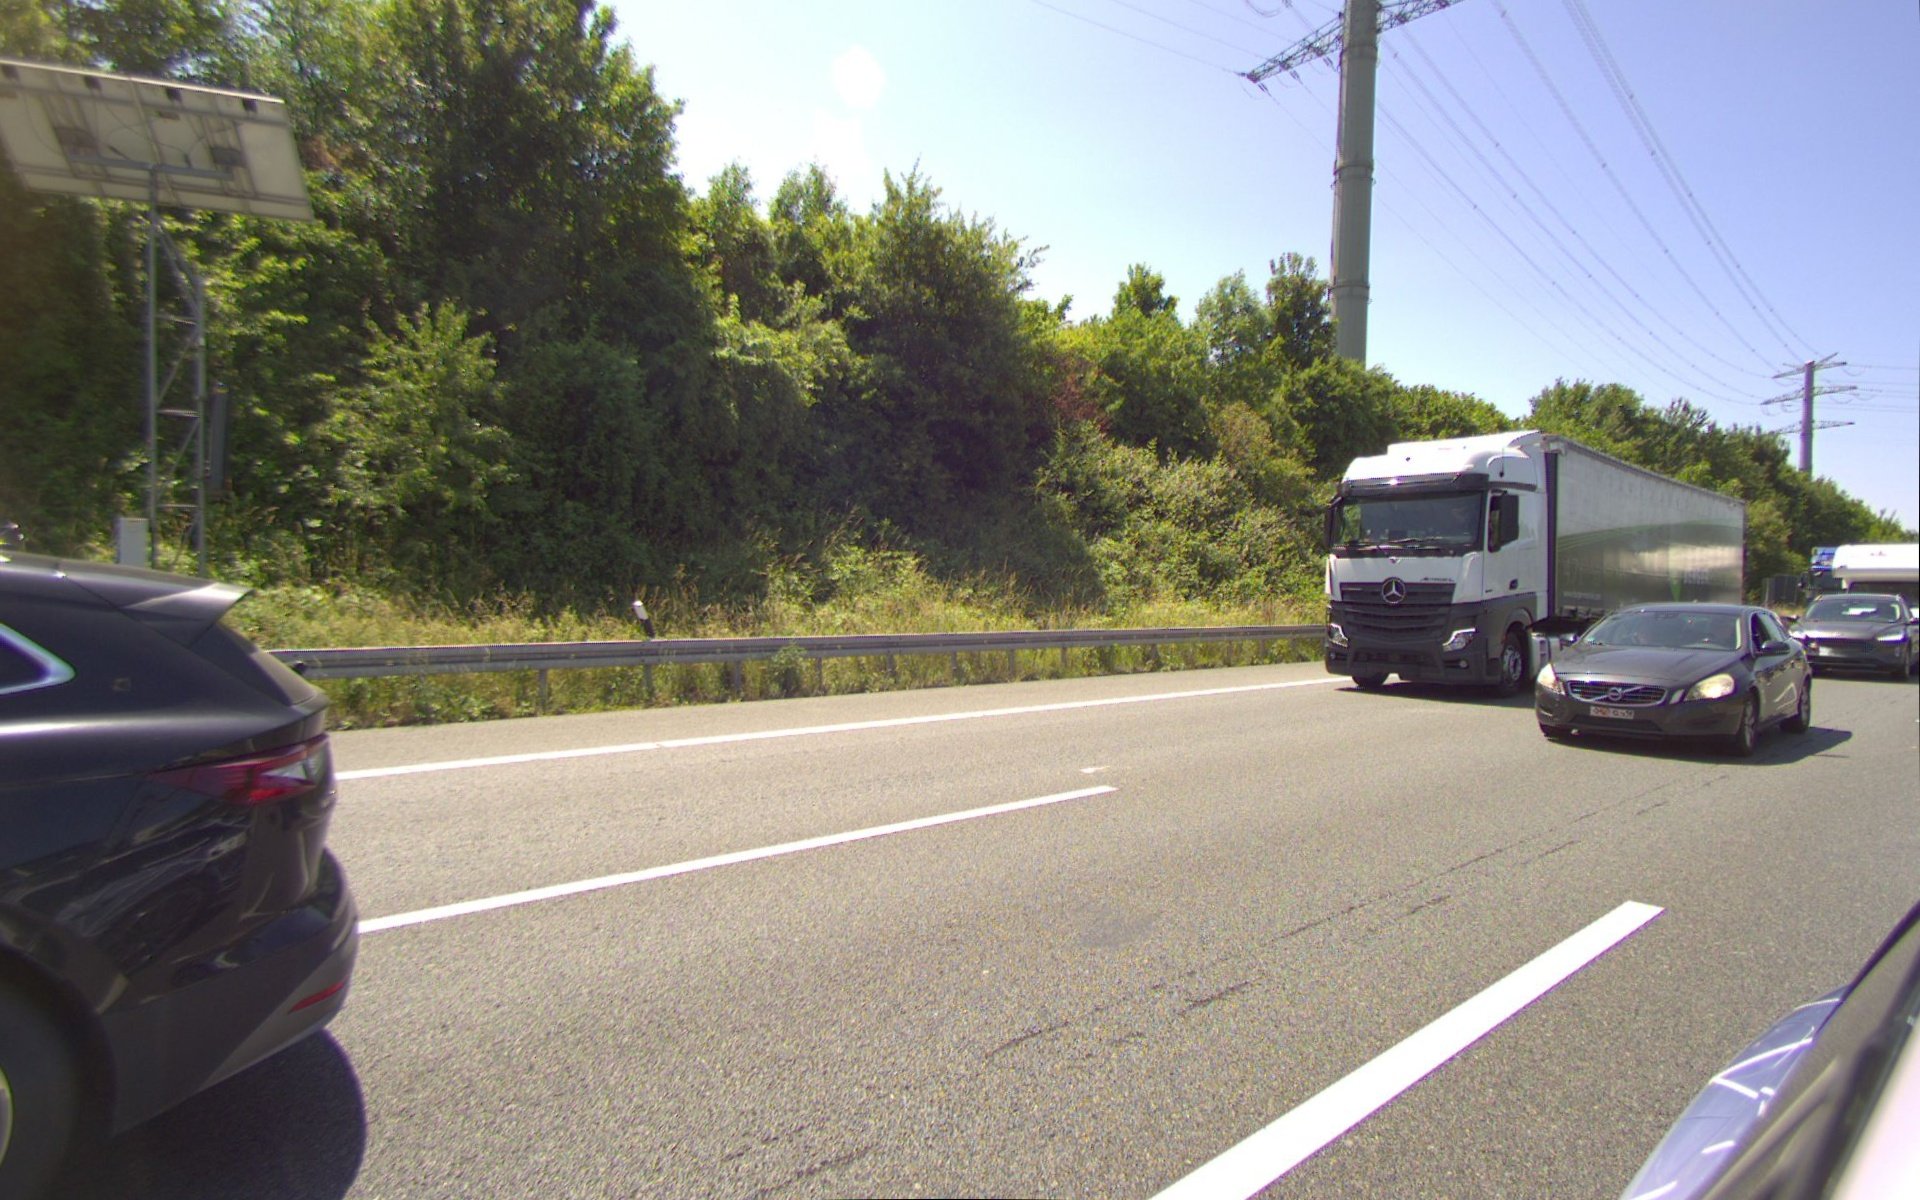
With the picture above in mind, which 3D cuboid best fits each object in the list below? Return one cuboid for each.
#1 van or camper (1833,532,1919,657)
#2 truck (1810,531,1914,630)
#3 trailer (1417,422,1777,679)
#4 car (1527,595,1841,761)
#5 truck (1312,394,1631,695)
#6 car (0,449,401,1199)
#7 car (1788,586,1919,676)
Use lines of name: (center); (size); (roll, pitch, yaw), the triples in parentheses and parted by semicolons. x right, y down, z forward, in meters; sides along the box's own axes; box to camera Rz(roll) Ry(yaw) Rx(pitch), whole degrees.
van or camper: (26.367, -0.164, 27.932); (7.499, 3.082, 2.373); (0, 0, -41)
truck: (40.856, -0.870, 45.784); (5.537, 4.197, 2.790); (0, 0, -41)
trailer: (14.012, -0.835, 21.376); (12.882, 4.098, 2.788); (0, 0, -41)
car: (7.996, 0.672, 11.016); (4.431, 1.437, 1.798); (0, 0, -41)
truck: (8.548, -0.776, 16.668); (5.692, 4.098, 2.738); (0, 0, -41)
car: (-3.565, 0.543, 1.702); (4.353, 1.676, 1.703); (0, 0, -42)
car: (18.393, 0.544, 20.443); (4.146, 1.631, 1.892); (0, 0, -41)
